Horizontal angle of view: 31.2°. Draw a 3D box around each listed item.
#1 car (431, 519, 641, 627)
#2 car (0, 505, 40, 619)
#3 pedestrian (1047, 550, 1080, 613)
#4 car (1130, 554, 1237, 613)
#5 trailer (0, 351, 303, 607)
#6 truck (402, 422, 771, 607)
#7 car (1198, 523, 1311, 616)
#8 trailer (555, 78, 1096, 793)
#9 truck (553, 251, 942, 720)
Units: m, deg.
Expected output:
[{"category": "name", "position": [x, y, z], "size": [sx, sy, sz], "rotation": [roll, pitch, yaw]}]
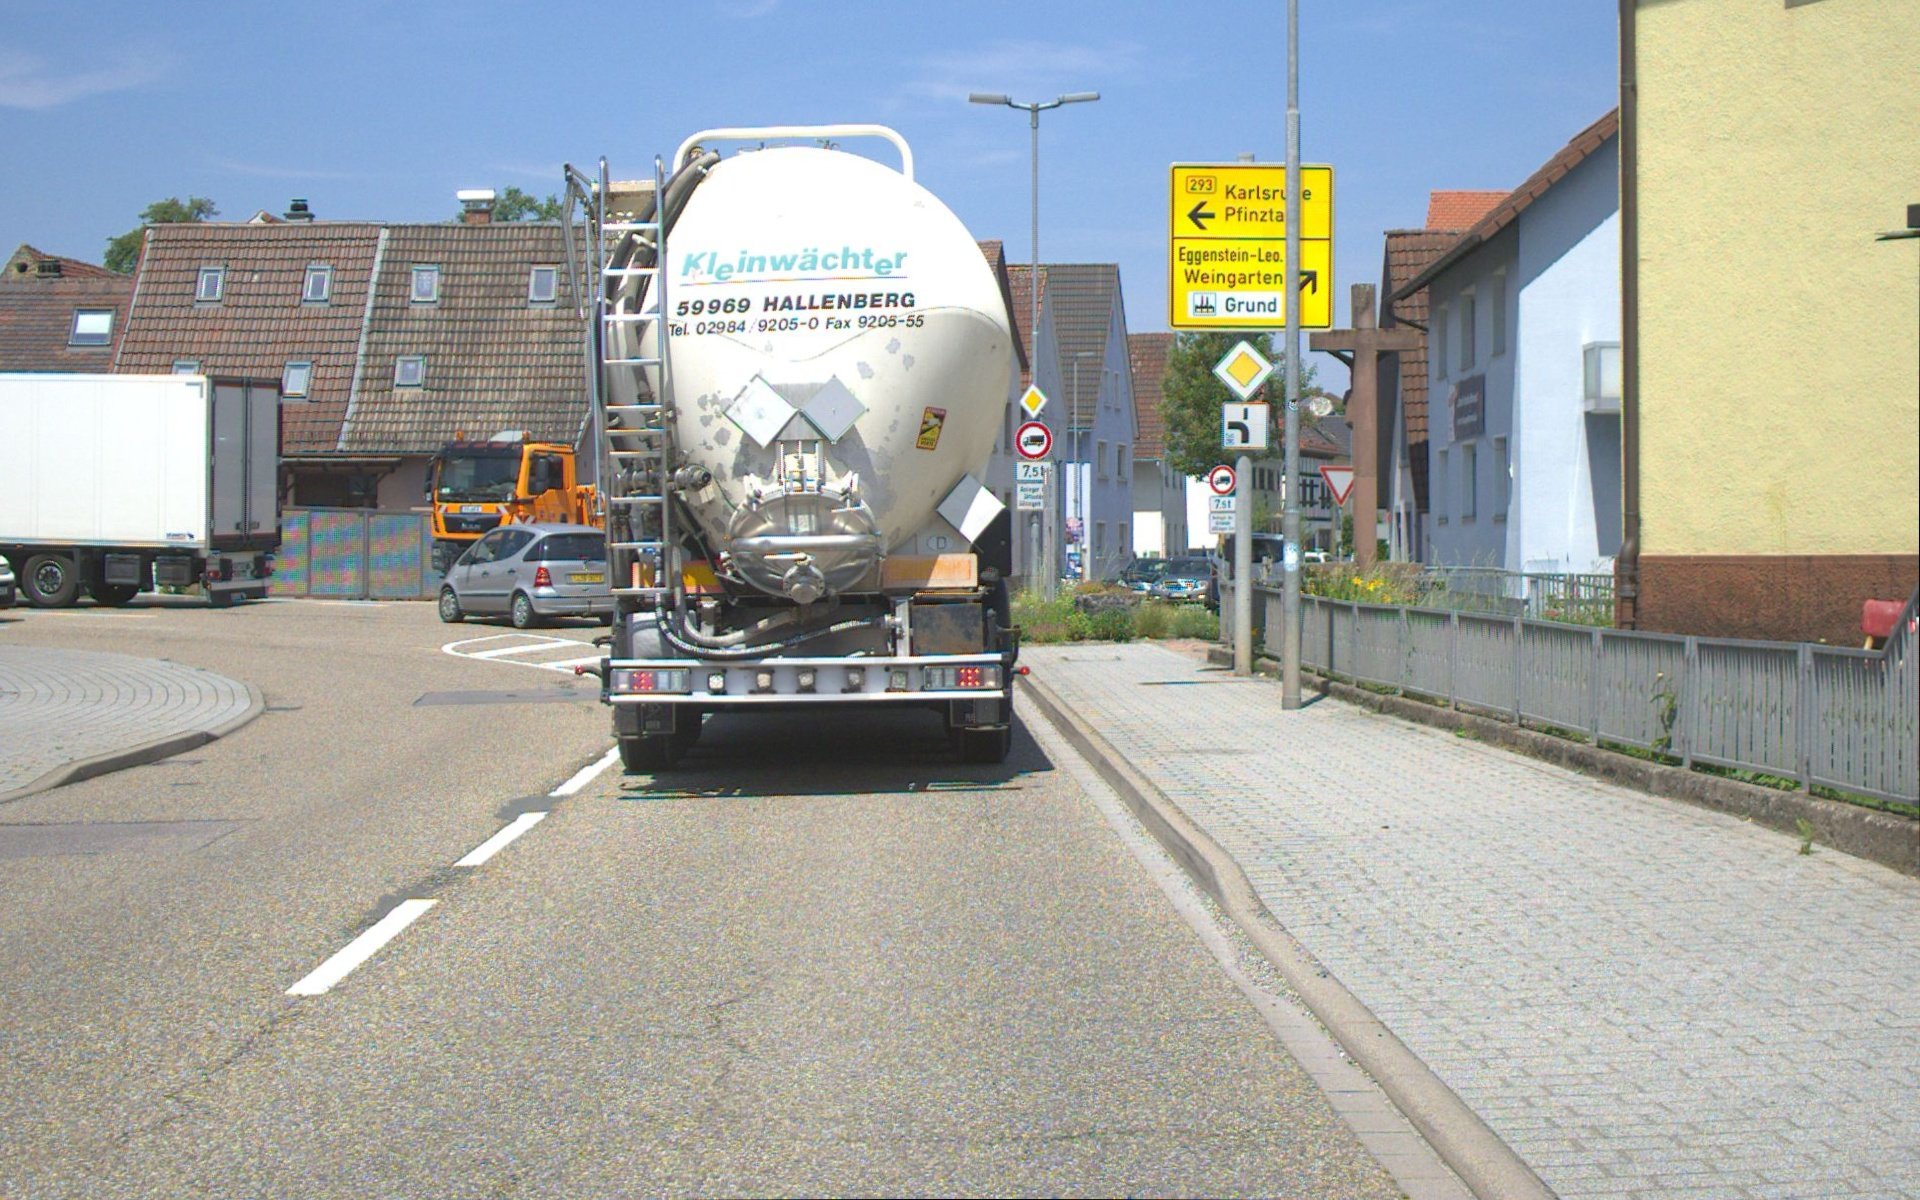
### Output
[{"category": "car", "position": [-6.492, -0.423, 52.355], "size": [1.782, 1.579, 3.606], "rotation": [0, 1, -33]}, {"category": "car", "position": [-17.163, -0.646, 54.937], "size": [4.511, 1.779, 1.878], "rotation": [1, 2, 21]}, {"category": "pedestrian", "position": [3.343, -0.603, 111.402], "size": [0.769, 2.007, 0.976], "rotation": [1, 1, 20]}, {"category": "car", "position": [6.798, -0.482, 104.206], "size": [1.996, 1.669, 4.308], "rotation": [1, 0, 21]}, {"category": "trailer", "position": [-17.951, -2.085, 60.439], "size": [12.463, 4.262, 3.140], "rotation": [1, 0, 16]}, {"category": "truck", "position": [-6.932, -1.523, 64.971], "size": [2.666, 3.170, 7.447], "rotation": [0, -1, 35]}, {"category": "car", "position": [6.531, -0.651, 75.979], "size": [1.994, 1.906, 4.322], "rotation": [1, -1, 11]}, {"category": "trailer", "position": [-1.330, -0.980, 25.062], "size": [2.952, 3.934, 11.621], "rotation": [1, 1, -6]}, {"category": "truck", "position": [-2.150, -0.994, 32.478], "size": [2.987, 3.951, 5.580], "rotation": [2, 0, -9]}]
